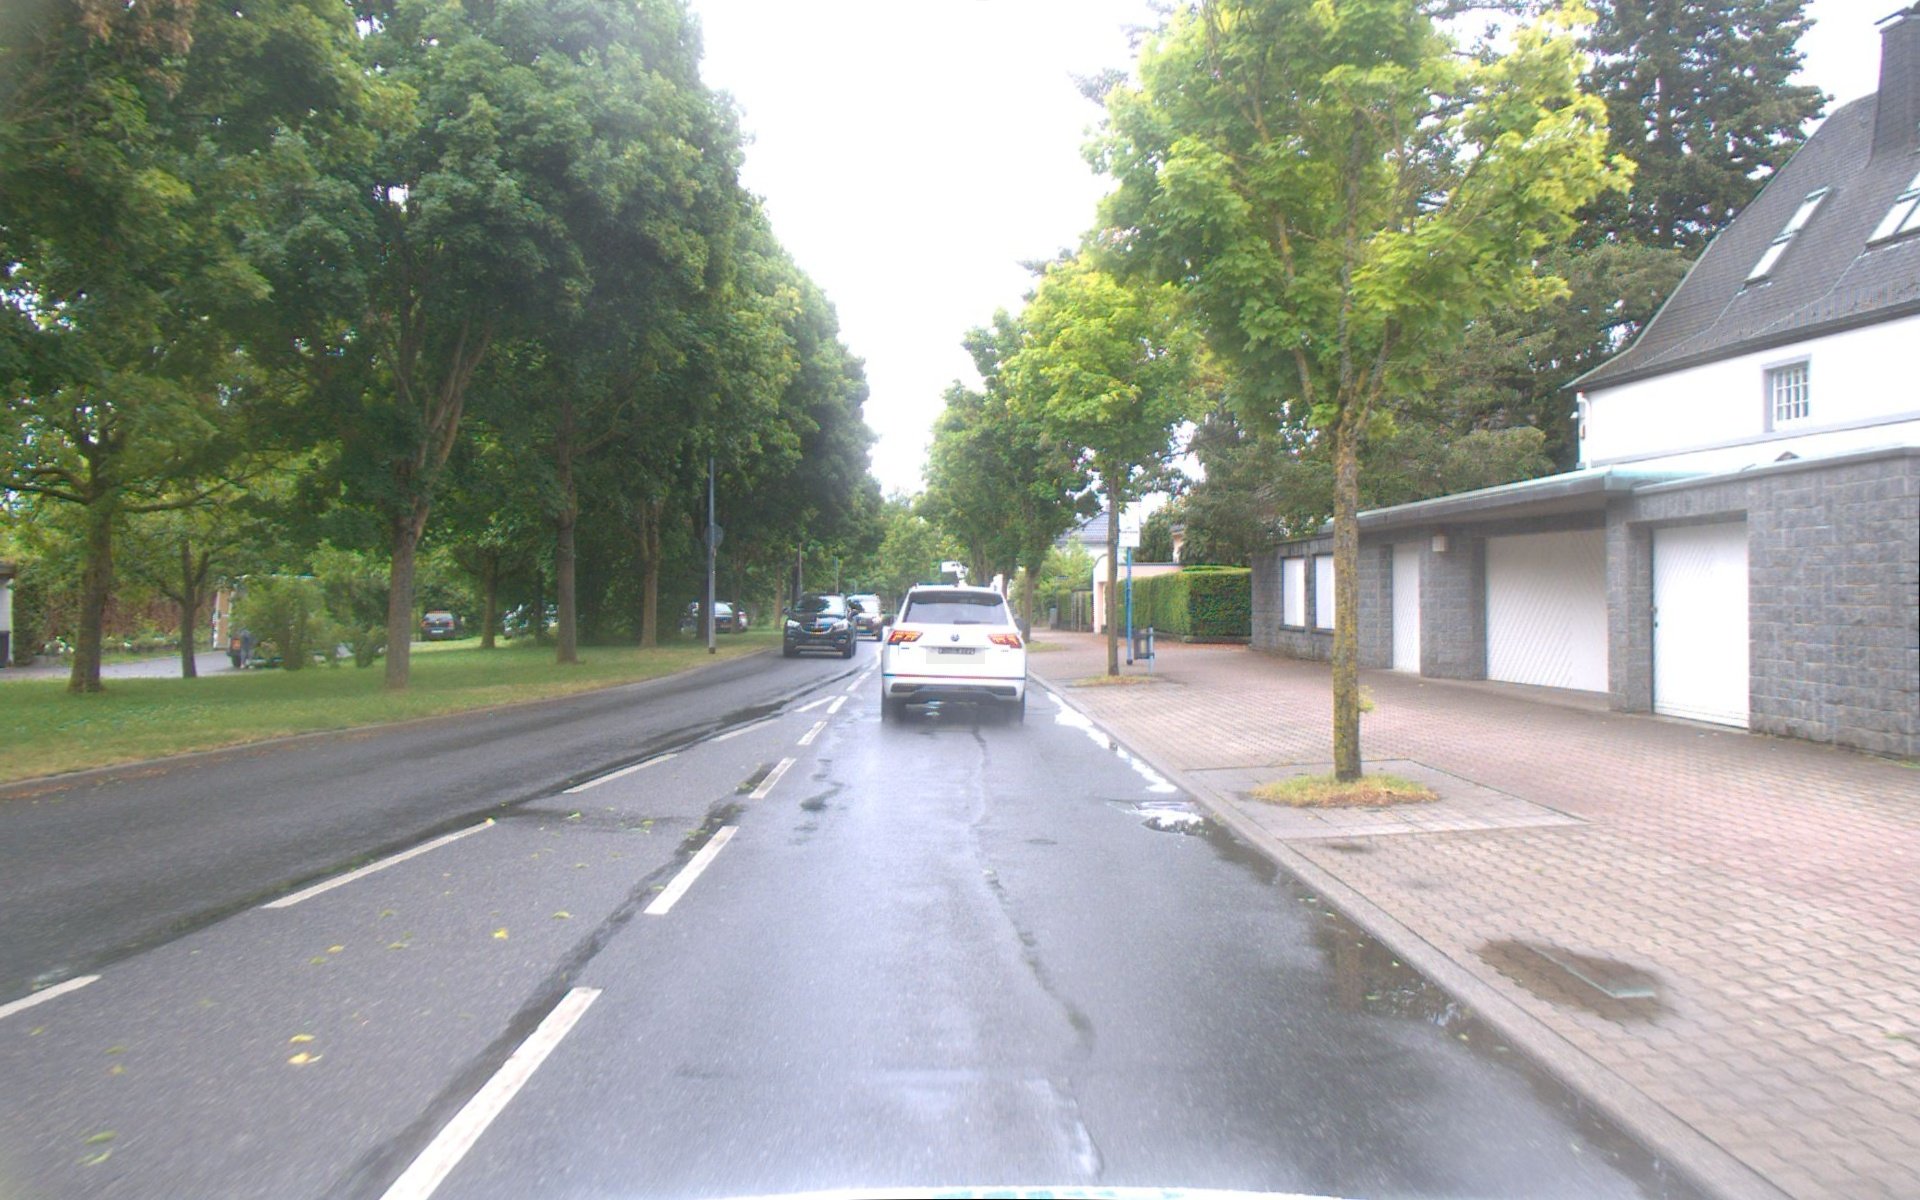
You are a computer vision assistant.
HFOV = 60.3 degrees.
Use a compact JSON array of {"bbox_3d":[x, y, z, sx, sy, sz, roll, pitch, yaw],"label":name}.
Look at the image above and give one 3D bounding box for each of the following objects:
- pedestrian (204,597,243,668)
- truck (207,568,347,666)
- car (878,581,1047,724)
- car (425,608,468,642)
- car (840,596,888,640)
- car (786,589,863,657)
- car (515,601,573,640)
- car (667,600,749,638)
[{"bbox_3d":[-19.765,0.850,44.401,0.695,1.873,0.823,-1,0,-7],"label":"pedestrian"},{"bbox_3d":[-19.610,0.468,47.792,2.241,2.642,5.864,0,0,-7],"label":"truck"},{"bbox_3d":[-0.066,0.610,21.445,1.957,1.660,3.997,1,0,-3],"label":"car"},{"bbox_3d":[-24.046,1.160,77.513,1.450,1.557,3.108,0,0,-8],"label":"car"},{"bbox_3d":[-3.816,0.711,66.117,1.720,1.677,3.999,1,0,-1],"label":"car"},{"bbox_3d":[-3.517,0.584,43.449,1.778,1.677,3.998,1,0,-2],"label":"car"},{"bbox_3d":[-16.752,0.815,66.489,1.814,1.508,3.975,-1,0,-21],"label":"car"},{"bbox_3d":[-10.590,0.784,69.238,1.826,1.508,3.950,-1,0,-35],"label":"car"}]
